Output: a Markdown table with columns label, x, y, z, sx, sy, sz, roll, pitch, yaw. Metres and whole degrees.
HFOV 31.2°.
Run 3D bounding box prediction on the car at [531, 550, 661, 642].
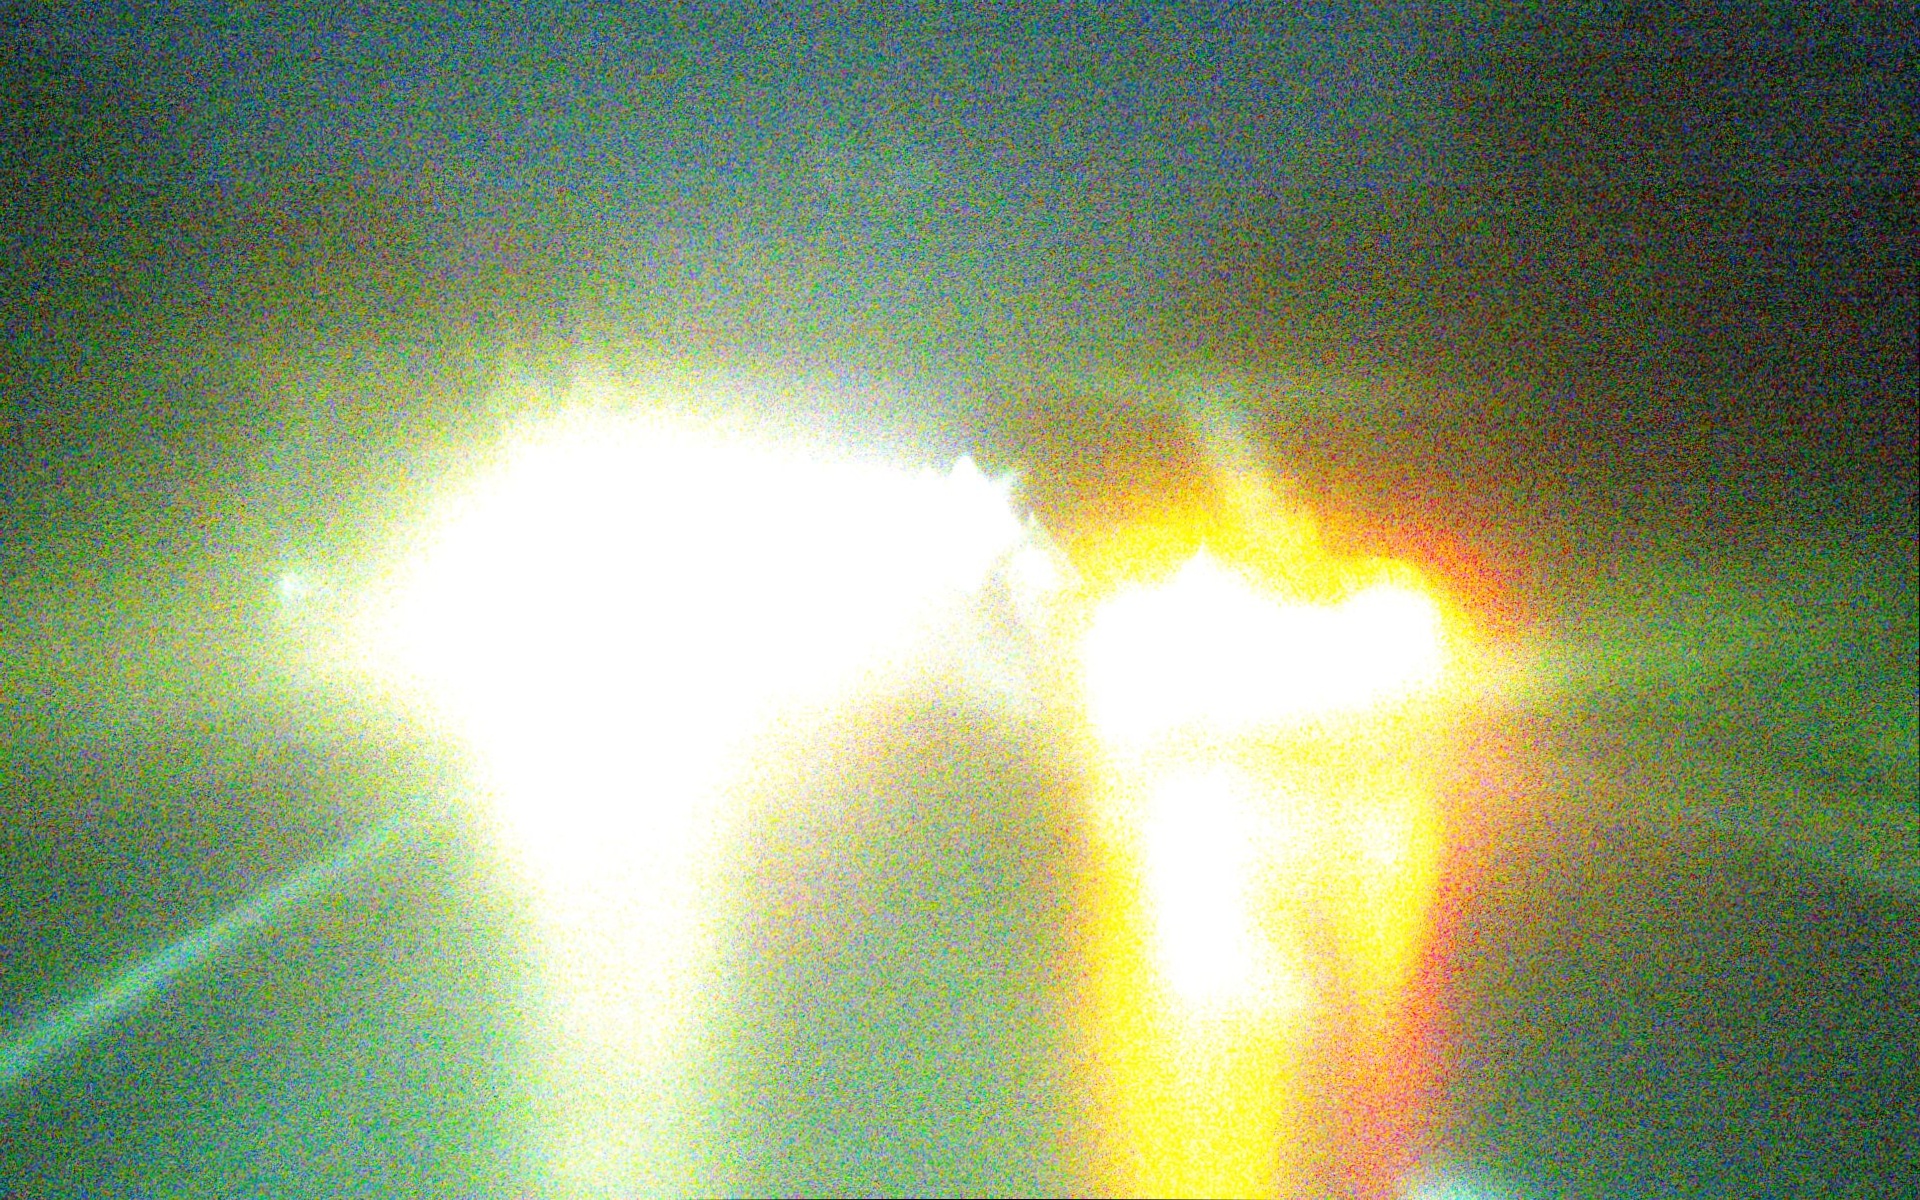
| label | x | y | z | sx | sy | sz | roll | pitch | yaw |
| --- | --- | --- | --- | --- | --- | --- | --- | --- | --- |
| car | -6.517 | -0.101 | 61.980 | 1.993 | 1.570 | 4.662 | 0 | 1 | -2 |

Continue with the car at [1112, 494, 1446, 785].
| label | x | y | z | sx | sy | sz | roll | pitch | yaw |
| --- | --- | --- | --- | --- | --- | --- | --- | --- | --- |
| car | 2.312 | 0.241 | 25.962 | 2.093 | 2.007 | 4.000 | 0 | 1 | -1 |

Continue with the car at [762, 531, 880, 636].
| label | x | y | z | sx | sy | sz | roll | pitch | yaw |
| --- | --- | --- | --- | --- | --- | --- | --- | --- | --- |
| car | -2.218 | -0.295 | 54.978 | 1.808 | 1.616 | 4.001 | 0 | 1 | -2 |
